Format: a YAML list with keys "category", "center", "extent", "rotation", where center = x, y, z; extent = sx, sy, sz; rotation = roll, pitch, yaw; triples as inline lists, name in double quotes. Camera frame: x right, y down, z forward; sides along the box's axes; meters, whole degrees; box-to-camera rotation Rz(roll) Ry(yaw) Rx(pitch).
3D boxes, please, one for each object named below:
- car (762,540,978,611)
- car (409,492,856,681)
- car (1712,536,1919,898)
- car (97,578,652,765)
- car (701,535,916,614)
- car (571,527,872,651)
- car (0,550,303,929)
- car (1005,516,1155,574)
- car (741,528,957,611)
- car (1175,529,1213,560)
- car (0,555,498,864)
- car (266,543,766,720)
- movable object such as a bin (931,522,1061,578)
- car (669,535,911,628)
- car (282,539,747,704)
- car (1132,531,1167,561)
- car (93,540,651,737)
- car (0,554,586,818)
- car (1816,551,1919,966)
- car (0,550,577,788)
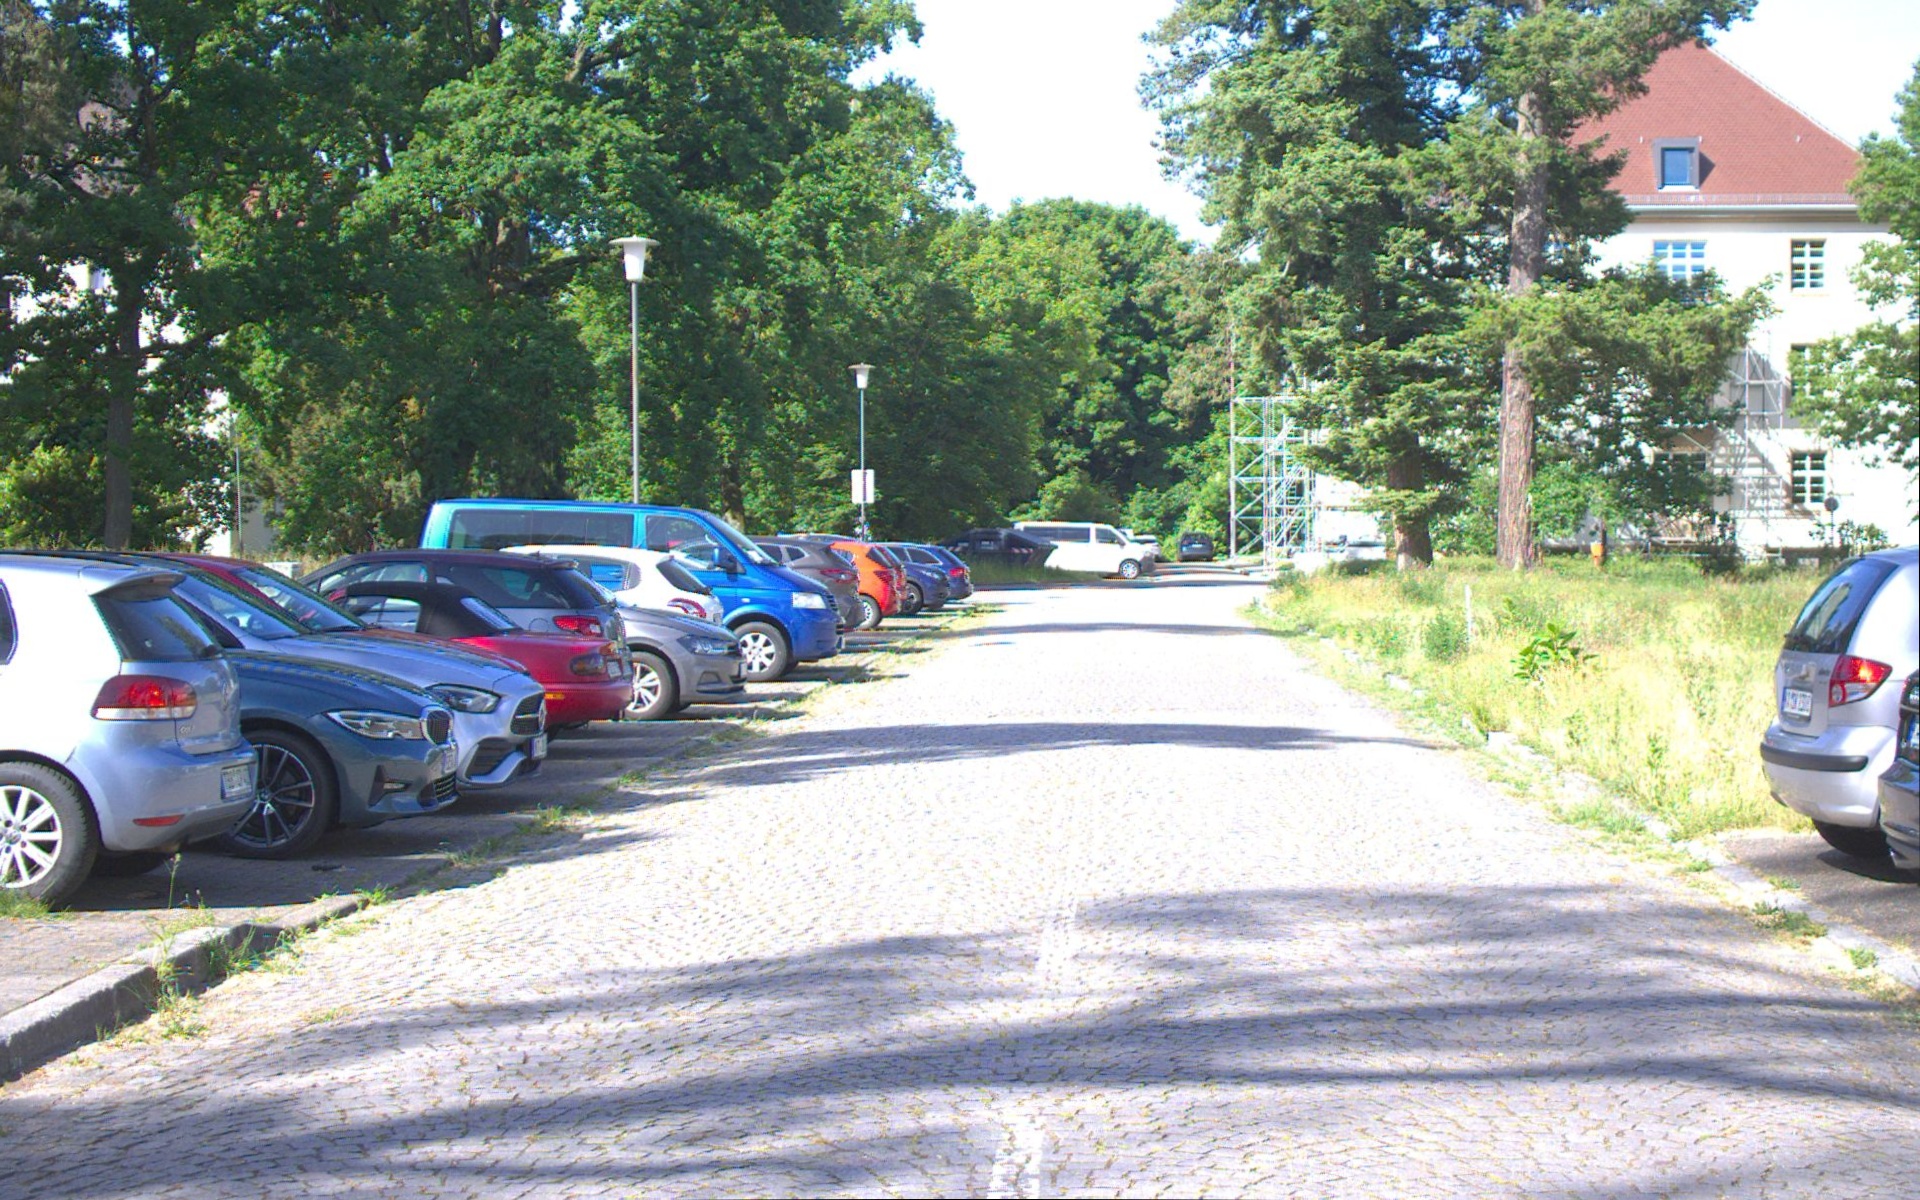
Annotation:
- category: "car"
  center: [-1.891, -0.533, 72.812]
  extent: [4.360, 1.440, 1.920]
  rotation: [1, 2, 6]
- category: "car"
  center: [-3.623, -0.168, 38.610]
  extent: [4.718, 1.961, 2.005]
  rotation: [1, 1, 3]
- category: "car"
  center: [5.428, 0.404, 15.272]
  extent: [3.740, 1.471, 1.752]
  rotation: [-3, 1, 2]
- category: "car"
  center: [-4.184, 0.494, 24.915]
  extent: [3.631, 1.230, 1.759]
  rotation: [1, 0, 4]
- category: "car"
  center: [-2.873, -0.498, 65.777]
  extent: [3.924, 1.428, 1.842]
  rotation: [1, 2, 4]
- category: "car"
  center: [-3.261, -0.173, 47.560]
  extent: [3.953, 1.562, 1.974]
  rotation: [1, 2, 2]
- category: "car"
  center: [-5.077, 0.529, 14.954]
  extent: [4.026, 1.478, 1.949]
  rotation: [1, 2, 1]
- category: "car"
  center: [4.237, -1.948, 121.402]
  extent: [5.235, 2.009, 1.950]
  rotation: [0, 1, 3]
- category: "car"
  center: [-2.172, -0.617, 68.135]
  extent: [4.135, 1.574, 1.884]
  rotation: [1, 2, 3]
- category: "car"
  center: [12.731, -3.037, 187.323]
  extent: [1.971, 1.662, 4.086]
  rotation: [-1, 1, 2]
- category: "car"
  center: [-4.789, 0.501, 17.563]
  extent: [4.581, 1.447, 1.984]
  rotation: [1, 1, 0]
- category: "car"
  center: [-3.877, 0.251, 30.459]
  extent: [4.077, 1.420, 1.923]
  rotation: [1, 1, 4]
- category: "movable object such as a bin"
  center: [1.141, -1.582, 108.466]
  extent: [3.569, 1.738, 2.023]
  rotation: [0, 1, 22]
- category: "car"
  center: [-2.826, -0.330, 57.879]
  extent: [3.923, 1.456, 1.842]
  rotation: [1, 2, 2]
- category: "car"
  center: [-4.274, 0.183, 33.367]
  extent: [4.196, 1.470, 1.824]
  rotation: [1, 1, 3]
- category: "car"
  center: [10.316, -2.961, 187.162]
  extent: [1.812, 1.574, 4.134]
  rotation: [-1, 1, 2]
- category: "car"
  center: [-4.661, 0.289, 27.614]
  extent: [4.077, 1.447, 1.821]
  rotation: [1, 0, 4]
- category: "car"
  center: [-4.794, 0.458, 20.287]
  extent: [4.865, 1.416, 1.938]
  rotation: [1, 0, 3]
- category: "car"
  center: [5.374, 0.464, 12.527]
  extent: [4.004, 1.436, 1.844]
  rotation: [-3, 1, 1]
- category: "car"
  center: [-5.113, 0.409, 22.651]
  extent: [4.865, 1.416, 1.938]
  rotation: [1, 1, 3]
